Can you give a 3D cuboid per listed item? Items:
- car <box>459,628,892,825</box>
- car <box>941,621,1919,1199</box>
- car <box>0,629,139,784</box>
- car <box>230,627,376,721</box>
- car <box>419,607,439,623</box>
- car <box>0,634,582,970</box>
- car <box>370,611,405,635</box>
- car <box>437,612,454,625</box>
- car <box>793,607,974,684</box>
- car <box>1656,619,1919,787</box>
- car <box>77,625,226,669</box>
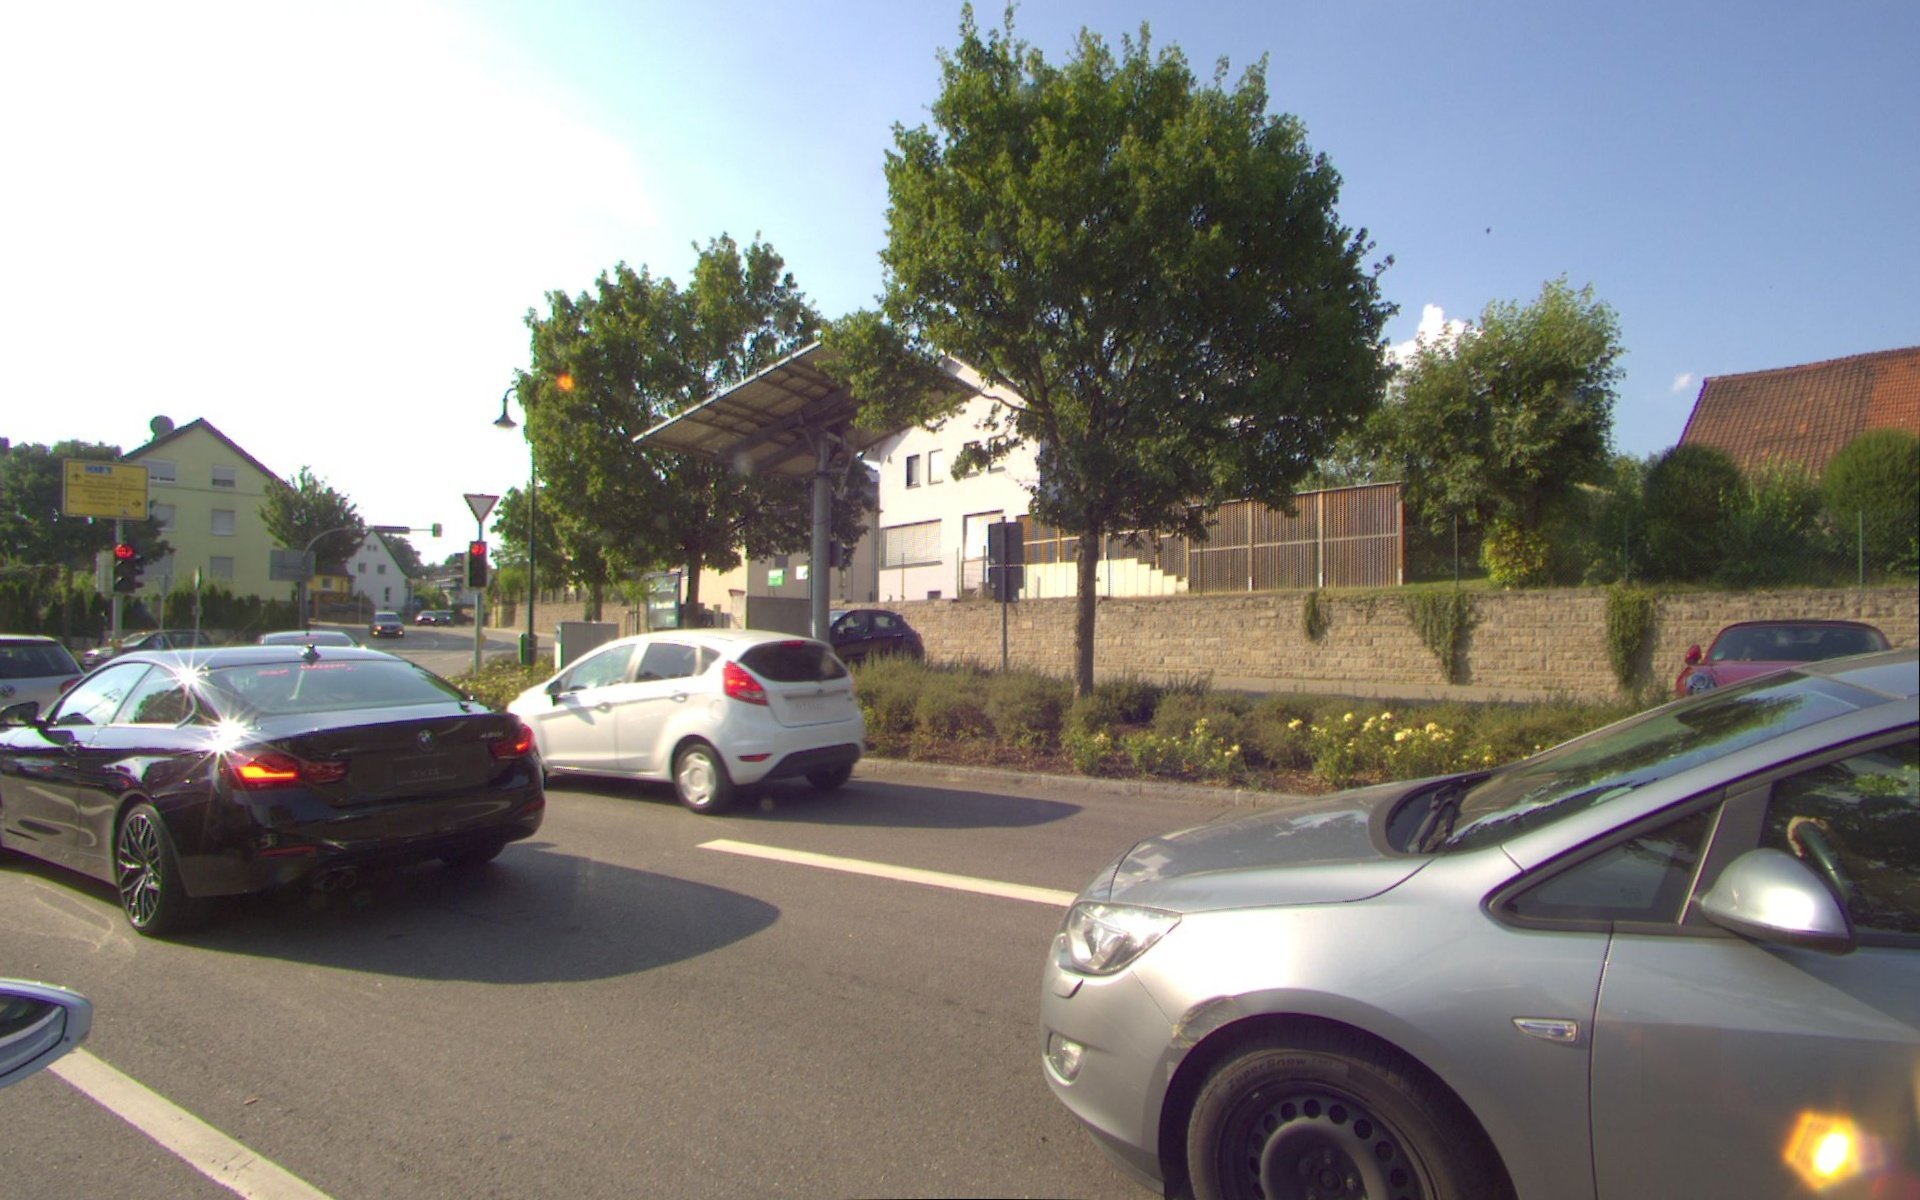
[{"bbox_3d":[-2.740,1.001,9.340,4.013,1.469,1.725,-1,-2,34],"label":"car"},{"bbox_3d":[2.143,0.784,2.215,4.107,1.460,1.741,-1,-2,32],"label":"car"},{"bbox_3d":[-10.720,1.039,10.746,4.287,1.465,1.812,-1,-2,34],"label":"car"},{"bbox_3d":[-11.781,1.222,17.822,1.668,1.454,4.552,1,-2,-40],"label":"car"},{"bbox_3d":[-55.573,1.584,104.792,1.755,1.600,3.983,1,-2,-27],"label":"car"},{"bbox_3d":[-4.454,0.924,6.221,4.287,1.406,1.812,-1,-2,34],"label":"car"},{"bbox_3d":[-34.719,1.392,60.708,1.693,1.261,3.974,1,1,-32],"label":"car"},{"bbox_3d":[-64.591,2.296,125.732,1.753,1.600,3.987,1,-2,-24],"label":"car"},{"bbox_3d":[-1.688,1.031,23.109,1.835,1.628,3.964,-1,-2,45],"label":"car"},{"bbox_3d":[8.215,0.859,9.652,1.835,1.288,3.964,-1,-2,45],"label":"car"},{"bbox_3d":[-30.143,1.728,37.495,1.759,1.526,4.065,0,-2,17],"label":"car"}]
